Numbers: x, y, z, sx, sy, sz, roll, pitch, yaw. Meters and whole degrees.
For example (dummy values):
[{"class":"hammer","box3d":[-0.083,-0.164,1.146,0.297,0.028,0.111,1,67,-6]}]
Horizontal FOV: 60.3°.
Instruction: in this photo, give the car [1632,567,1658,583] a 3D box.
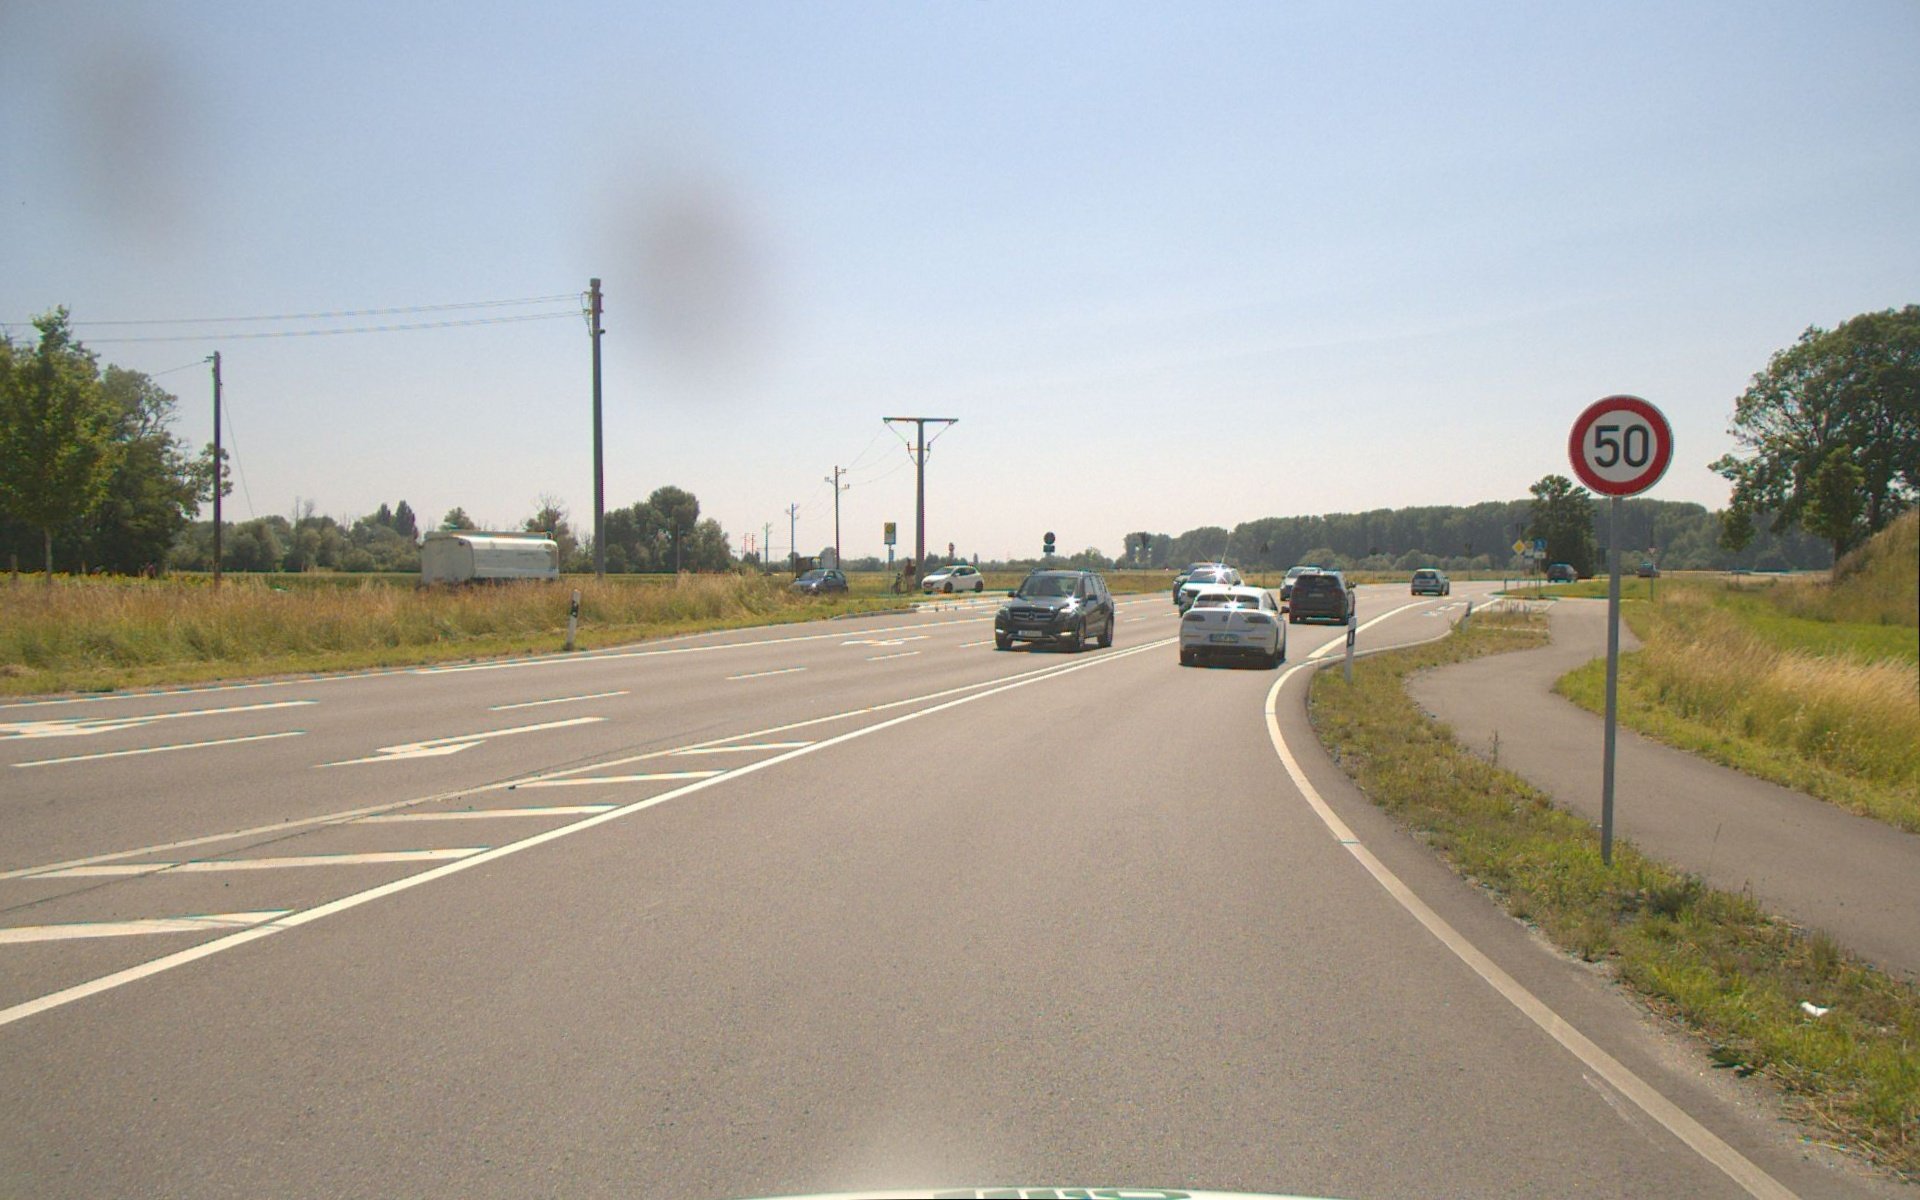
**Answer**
[{"class":"car","box3d":[71.099,-2.616,171.678,1.768,1.548,3.871,-3,-1,34]}]

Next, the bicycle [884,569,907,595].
[{"class":"bicycle","box3d":[-3.182,-0.892,82.082,0.481,1.269,1.509,1,0,26]}]

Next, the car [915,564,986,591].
[{"class":"car","box3d":[-0.513,-1.230,91.022,1.667,1.355,4.013,2,1,42]}]

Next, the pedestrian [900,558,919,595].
[{"class":"pedestrian","box3d":[-2.518,-1.152,82.184,0.597,1.816,0.845,1,0,27]}]

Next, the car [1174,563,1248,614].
[{"class":"car","box3d":[8.902,-0.411,58.412,1.839,1.679,4.846,2,1,17]}]

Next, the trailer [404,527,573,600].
[{"class":"trailer","box3d":[-17.117,-1.344,60.483,2.623,2.498,6.384,1,2,21]}]

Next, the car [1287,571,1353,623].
[{"class":"car","box3d":[11.868,-0.069,54.398,1.893,1.645,4.381,-1,-1,15]}]

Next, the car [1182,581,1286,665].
[{"class":"car","box3d":[5.343,0.407,31.852,1.808,1.458,4.612,2,0,11]}]

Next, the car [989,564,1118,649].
[{"class":"car","box3d":[2.083,0.075,35.473,1.826,1.679,4.330,1,1,16]}]

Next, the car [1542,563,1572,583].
[{"class":"car","box3d":[48.799,-2.182,135.127,1.765,1.502,4.408,-1,-1,28]}]

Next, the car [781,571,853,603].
[{"class":"car","box3d":[-6.719,-0.598,78.073,1.641,1.411,3.835,2,1,26]}]

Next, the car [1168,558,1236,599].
[{"class":"car","box3d":[10.387,-0.933,70.736,1.921,1.679,4.790,1,1,21]}]

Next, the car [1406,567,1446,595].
[{"class":"car","box3d":[26.239,-1.075,93.093,1.763,1.454,4.093,2,1,21]}]
